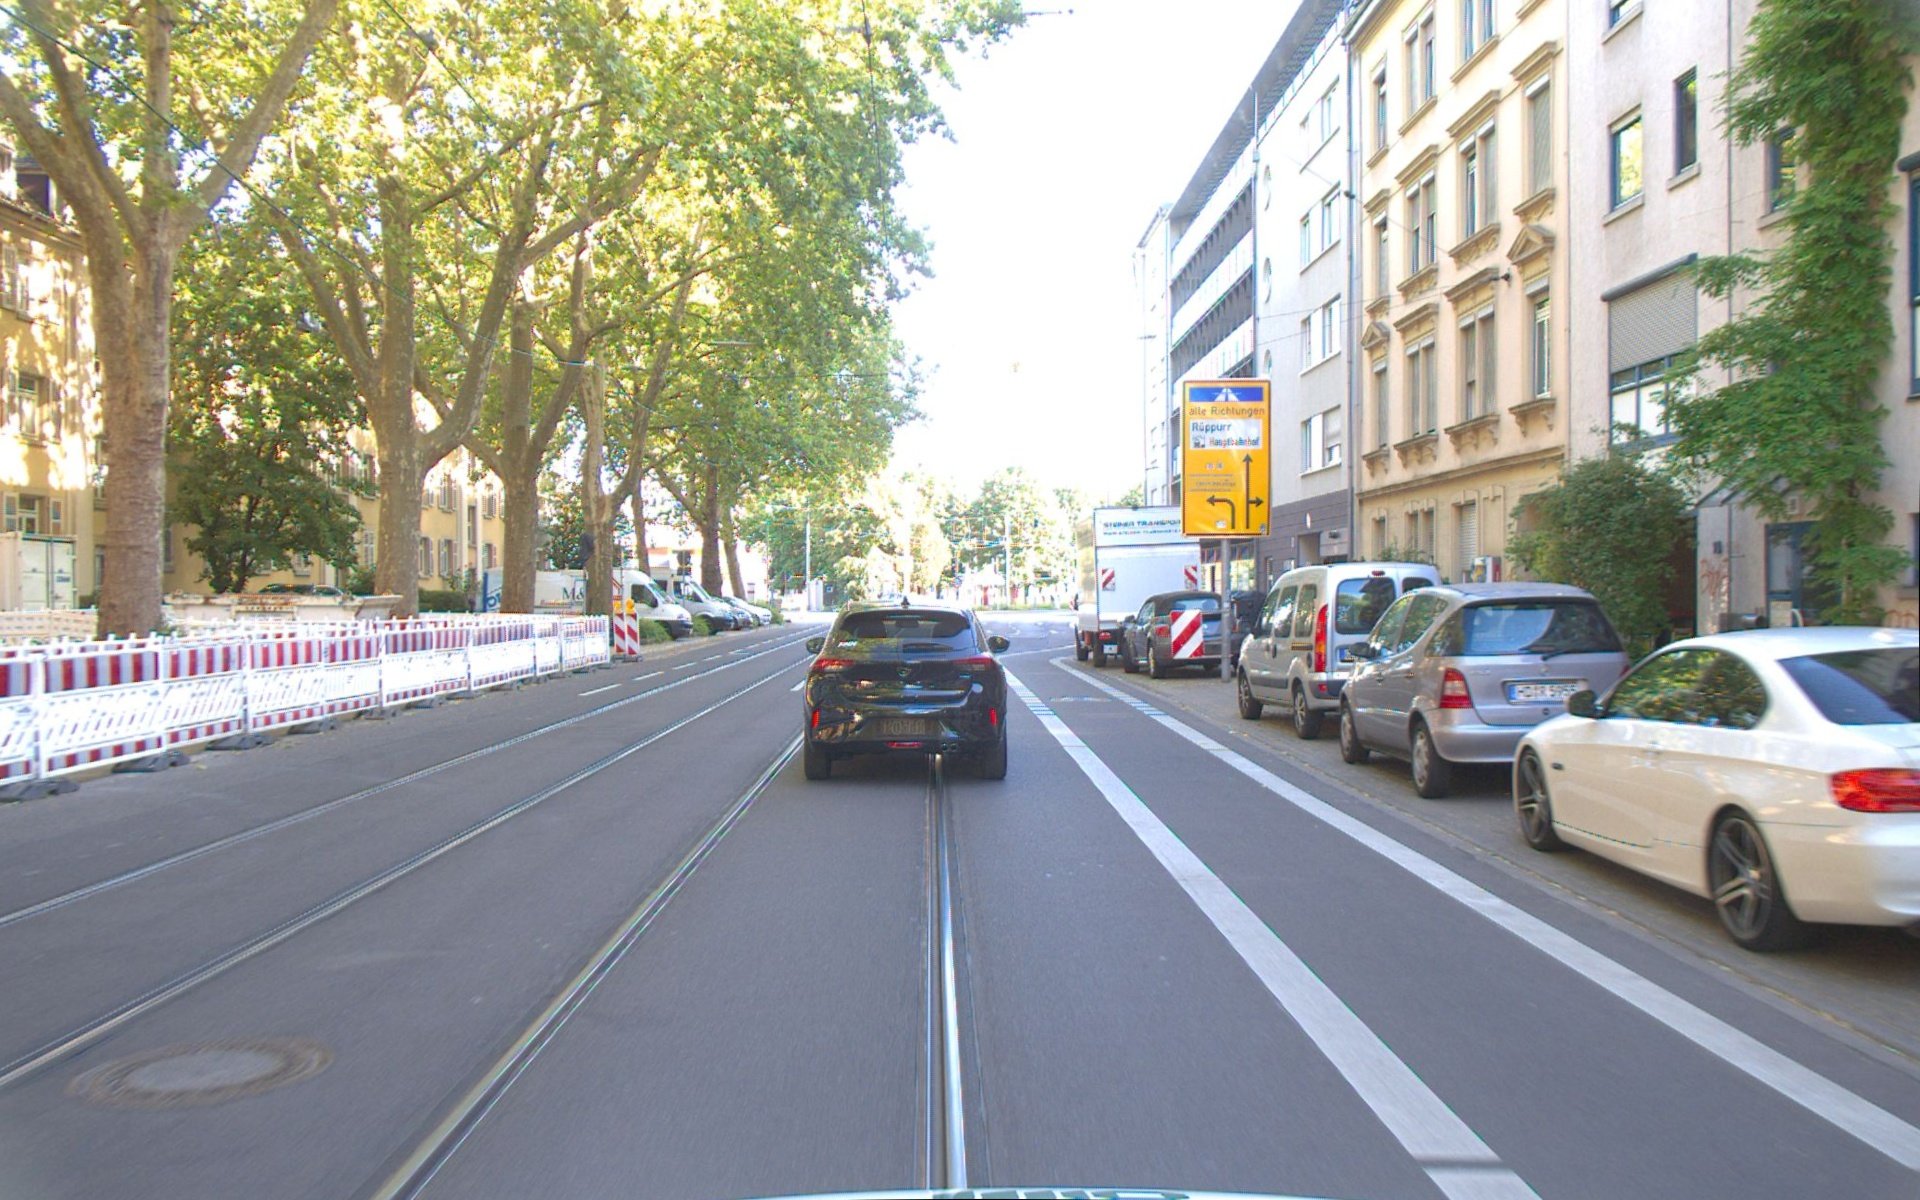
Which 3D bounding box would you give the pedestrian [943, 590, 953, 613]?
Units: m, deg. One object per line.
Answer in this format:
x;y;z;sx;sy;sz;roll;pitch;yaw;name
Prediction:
-0.969;0.146;134.434;0.575;1.886;0.613;1;0;-27;pedestrian

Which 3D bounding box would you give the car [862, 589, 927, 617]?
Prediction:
-4.502;0.239;112.439;1.981;1.725;4.672;-3;1;-39;car

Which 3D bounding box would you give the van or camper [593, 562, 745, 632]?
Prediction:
-11.547;-0.104;65.917;5.607;2.690;2.269;1;0;-1;van or camper

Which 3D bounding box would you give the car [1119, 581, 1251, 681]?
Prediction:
3.965;0.513;29.759;1.695;1.584;4.151;-3;0;0;car

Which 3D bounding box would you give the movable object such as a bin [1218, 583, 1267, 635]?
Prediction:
8.629;0.275;50.551;1.162;1.510;1.595;-2;0;-1;movable object such as a bin

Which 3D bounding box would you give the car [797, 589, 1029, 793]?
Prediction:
-0.394;0.671;14.460;1.745;1.522;3.999;0;0;-1;car

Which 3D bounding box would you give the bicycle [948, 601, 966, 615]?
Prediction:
-0.211;0.595;126.154;0.771;1.009;2.245;0;0;15;bicycle

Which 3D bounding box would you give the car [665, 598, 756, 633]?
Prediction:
-11.510;0.698;76.391;3.905;1.541;1.650;1;0;0;car

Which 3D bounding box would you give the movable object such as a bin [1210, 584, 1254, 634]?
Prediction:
8.611;0.275;52.448;1.088;1.510;1.387;-2;0;-1;movable object such as a bin

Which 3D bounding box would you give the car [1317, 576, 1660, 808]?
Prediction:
4.167;0.642;13.625;1.626;1.608;3.588;-2;0;0;car

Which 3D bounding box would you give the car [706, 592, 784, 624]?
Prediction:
-11.755;0.442;90.658;4.086;1.700;1.963;-1;0;-4;car

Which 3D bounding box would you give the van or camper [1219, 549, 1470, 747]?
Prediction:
4.160;0.459;18.545;1.635;1.915;4.209;-2;0;-2;van or camper

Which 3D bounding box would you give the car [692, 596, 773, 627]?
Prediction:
-11.734;0.592;85.479;3.905;1.541;1.650;1;0;0;car

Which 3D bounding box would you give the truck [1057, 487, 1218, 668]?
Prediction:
3.669;-0.451;35.797;2.487;3.396;7.194;-3;0;0;truck

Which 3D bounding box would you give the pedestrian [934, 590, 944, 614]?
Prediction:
-1.673;0.139;131.682;0.605;1.886;0.582;0;0;34;pedestrian

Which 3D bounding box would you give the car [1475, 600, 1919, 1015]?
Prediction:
4.278;0.771;8.535;1.626;1.424;4.739;-2;1;-1;car

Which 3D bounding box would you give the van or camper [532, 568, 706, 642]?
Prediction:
-11.619;0.177;56.567;5.387;2.421;2.270;1;0;2;van or camper

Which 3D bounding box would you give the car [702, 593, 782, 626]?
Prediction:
-11.597;0.504;88.297;4.086;1.700;1.963;-1;0;-4;car

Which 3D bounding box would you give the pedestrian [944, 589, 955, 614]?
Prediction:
-0.875;0.098;132.002;0.645;1.966;0.608;0;0;31;pedestrian
